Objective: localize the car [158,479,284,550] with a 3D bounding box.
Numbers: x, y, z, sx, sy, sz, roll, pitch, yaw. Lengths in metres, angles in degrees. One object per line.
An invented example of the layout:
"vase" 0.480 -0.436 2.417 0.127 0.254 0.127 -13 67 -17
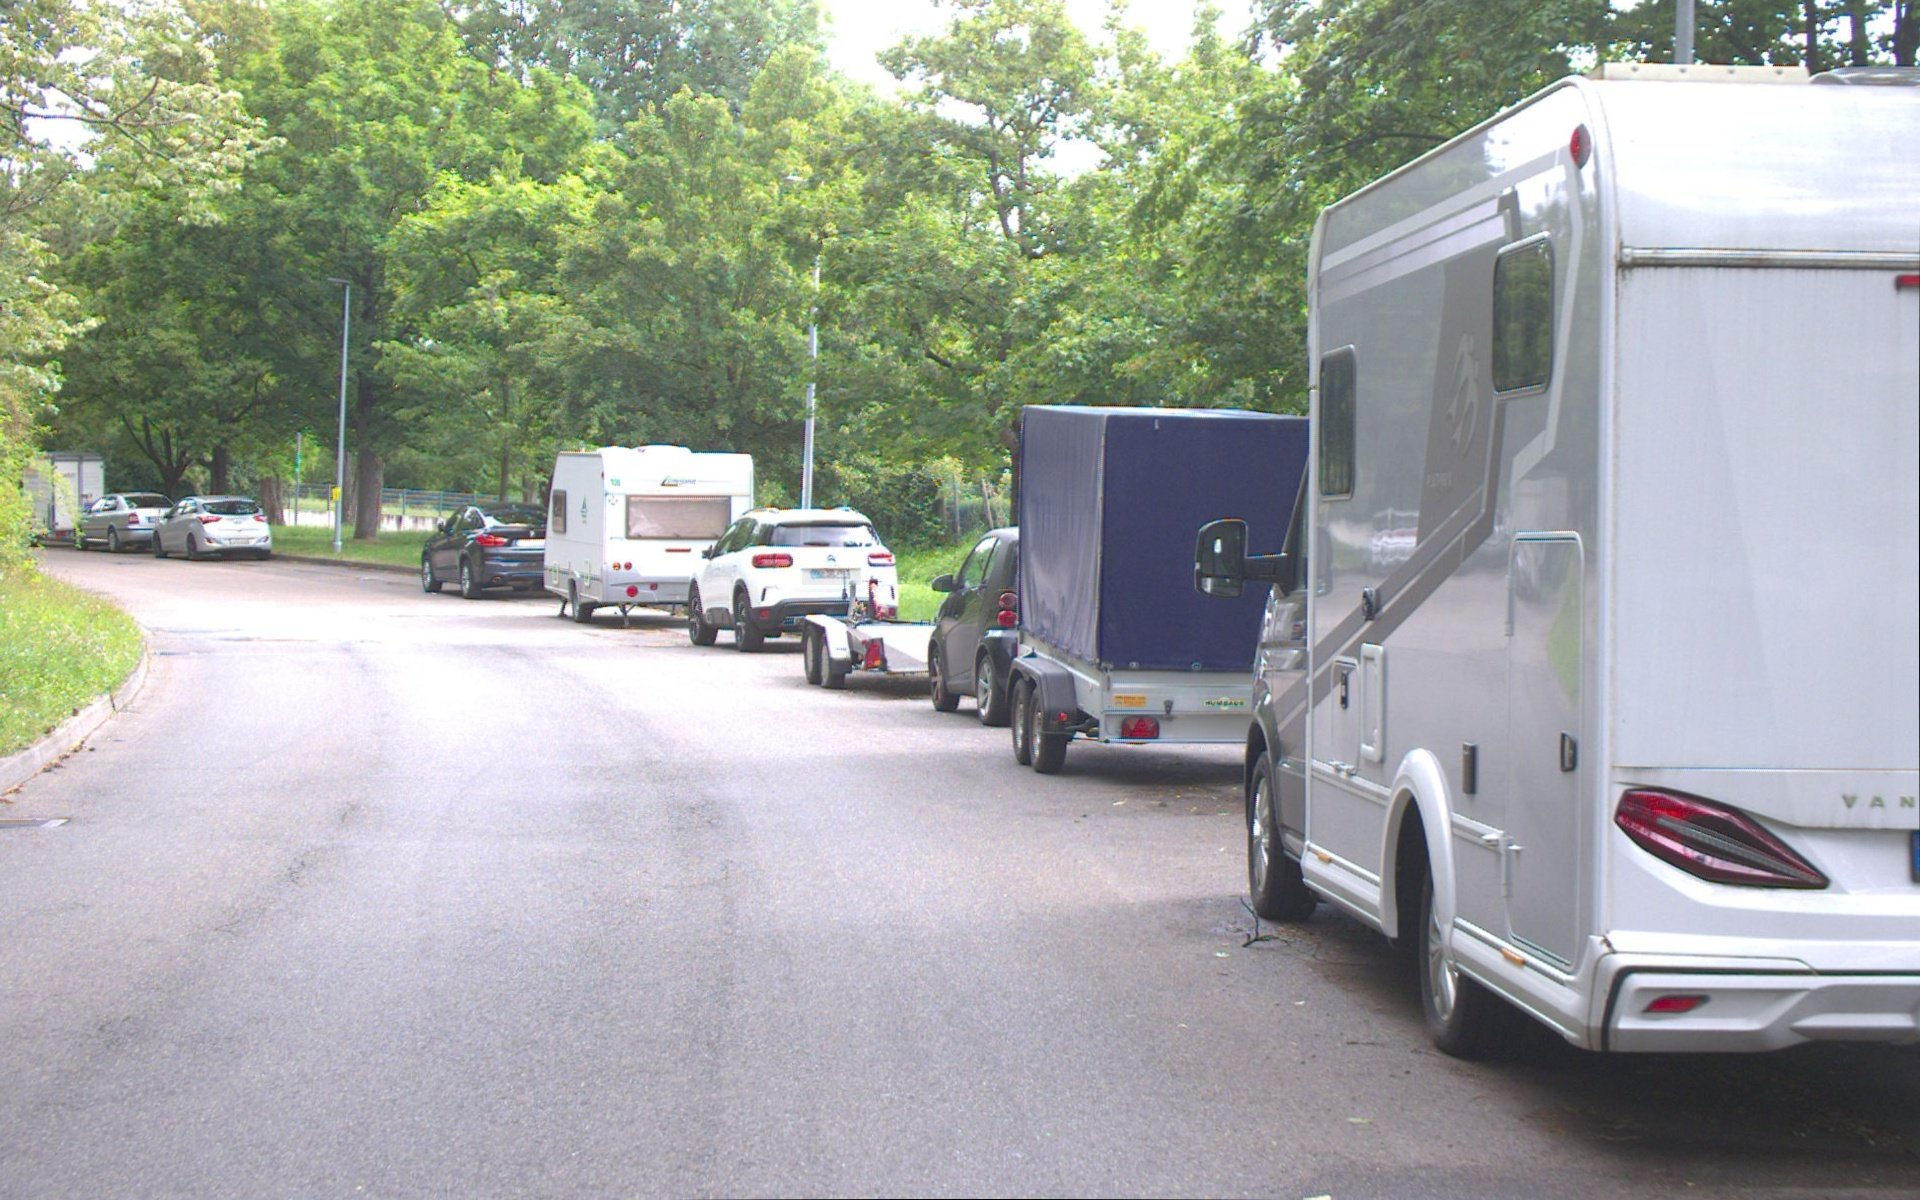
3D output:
"car" -16.943 -1.928 78.668 1.902 1.471 4.059 1 -1 -26

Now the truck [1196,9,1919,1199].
"truck" 2.431 -0.059 11.905 2.303 2.923 7.035 0 2 -4

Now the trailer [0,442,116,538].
"trailer" -23.372 -2.861 88.968 1.761 2.418 3.887 -1 3 -34

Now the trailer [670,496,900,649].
"trailer" -2.191 -0.359 41.709 1.772 1.725 4.652 -1 1 -16

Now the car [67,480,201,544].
"car" -20.331 -2.179 84.503 1.741 1.520 4.636 -1 2 -33

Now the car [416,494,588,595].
"car" -8.017 -0.993 59.819 1.848 1.637 4.532 0 2 -23

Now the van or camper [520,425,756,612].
"van or camper" -4.824 -1.204 50.572 2.160 2.527 6.034 1 1 -18

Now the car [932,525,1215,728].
"car" 0.857 0.214 27.974 1.729 1.517 3.405 1 0 -8

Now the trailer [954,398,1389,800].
"trailer" 1.269 -0.146 22.830 2.106 2.353 4.703 -1 4 -6

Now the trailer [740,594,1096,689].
"trailer" -0.561 0.362 33.498 2.103 0.649 6.403 1 1 -13
